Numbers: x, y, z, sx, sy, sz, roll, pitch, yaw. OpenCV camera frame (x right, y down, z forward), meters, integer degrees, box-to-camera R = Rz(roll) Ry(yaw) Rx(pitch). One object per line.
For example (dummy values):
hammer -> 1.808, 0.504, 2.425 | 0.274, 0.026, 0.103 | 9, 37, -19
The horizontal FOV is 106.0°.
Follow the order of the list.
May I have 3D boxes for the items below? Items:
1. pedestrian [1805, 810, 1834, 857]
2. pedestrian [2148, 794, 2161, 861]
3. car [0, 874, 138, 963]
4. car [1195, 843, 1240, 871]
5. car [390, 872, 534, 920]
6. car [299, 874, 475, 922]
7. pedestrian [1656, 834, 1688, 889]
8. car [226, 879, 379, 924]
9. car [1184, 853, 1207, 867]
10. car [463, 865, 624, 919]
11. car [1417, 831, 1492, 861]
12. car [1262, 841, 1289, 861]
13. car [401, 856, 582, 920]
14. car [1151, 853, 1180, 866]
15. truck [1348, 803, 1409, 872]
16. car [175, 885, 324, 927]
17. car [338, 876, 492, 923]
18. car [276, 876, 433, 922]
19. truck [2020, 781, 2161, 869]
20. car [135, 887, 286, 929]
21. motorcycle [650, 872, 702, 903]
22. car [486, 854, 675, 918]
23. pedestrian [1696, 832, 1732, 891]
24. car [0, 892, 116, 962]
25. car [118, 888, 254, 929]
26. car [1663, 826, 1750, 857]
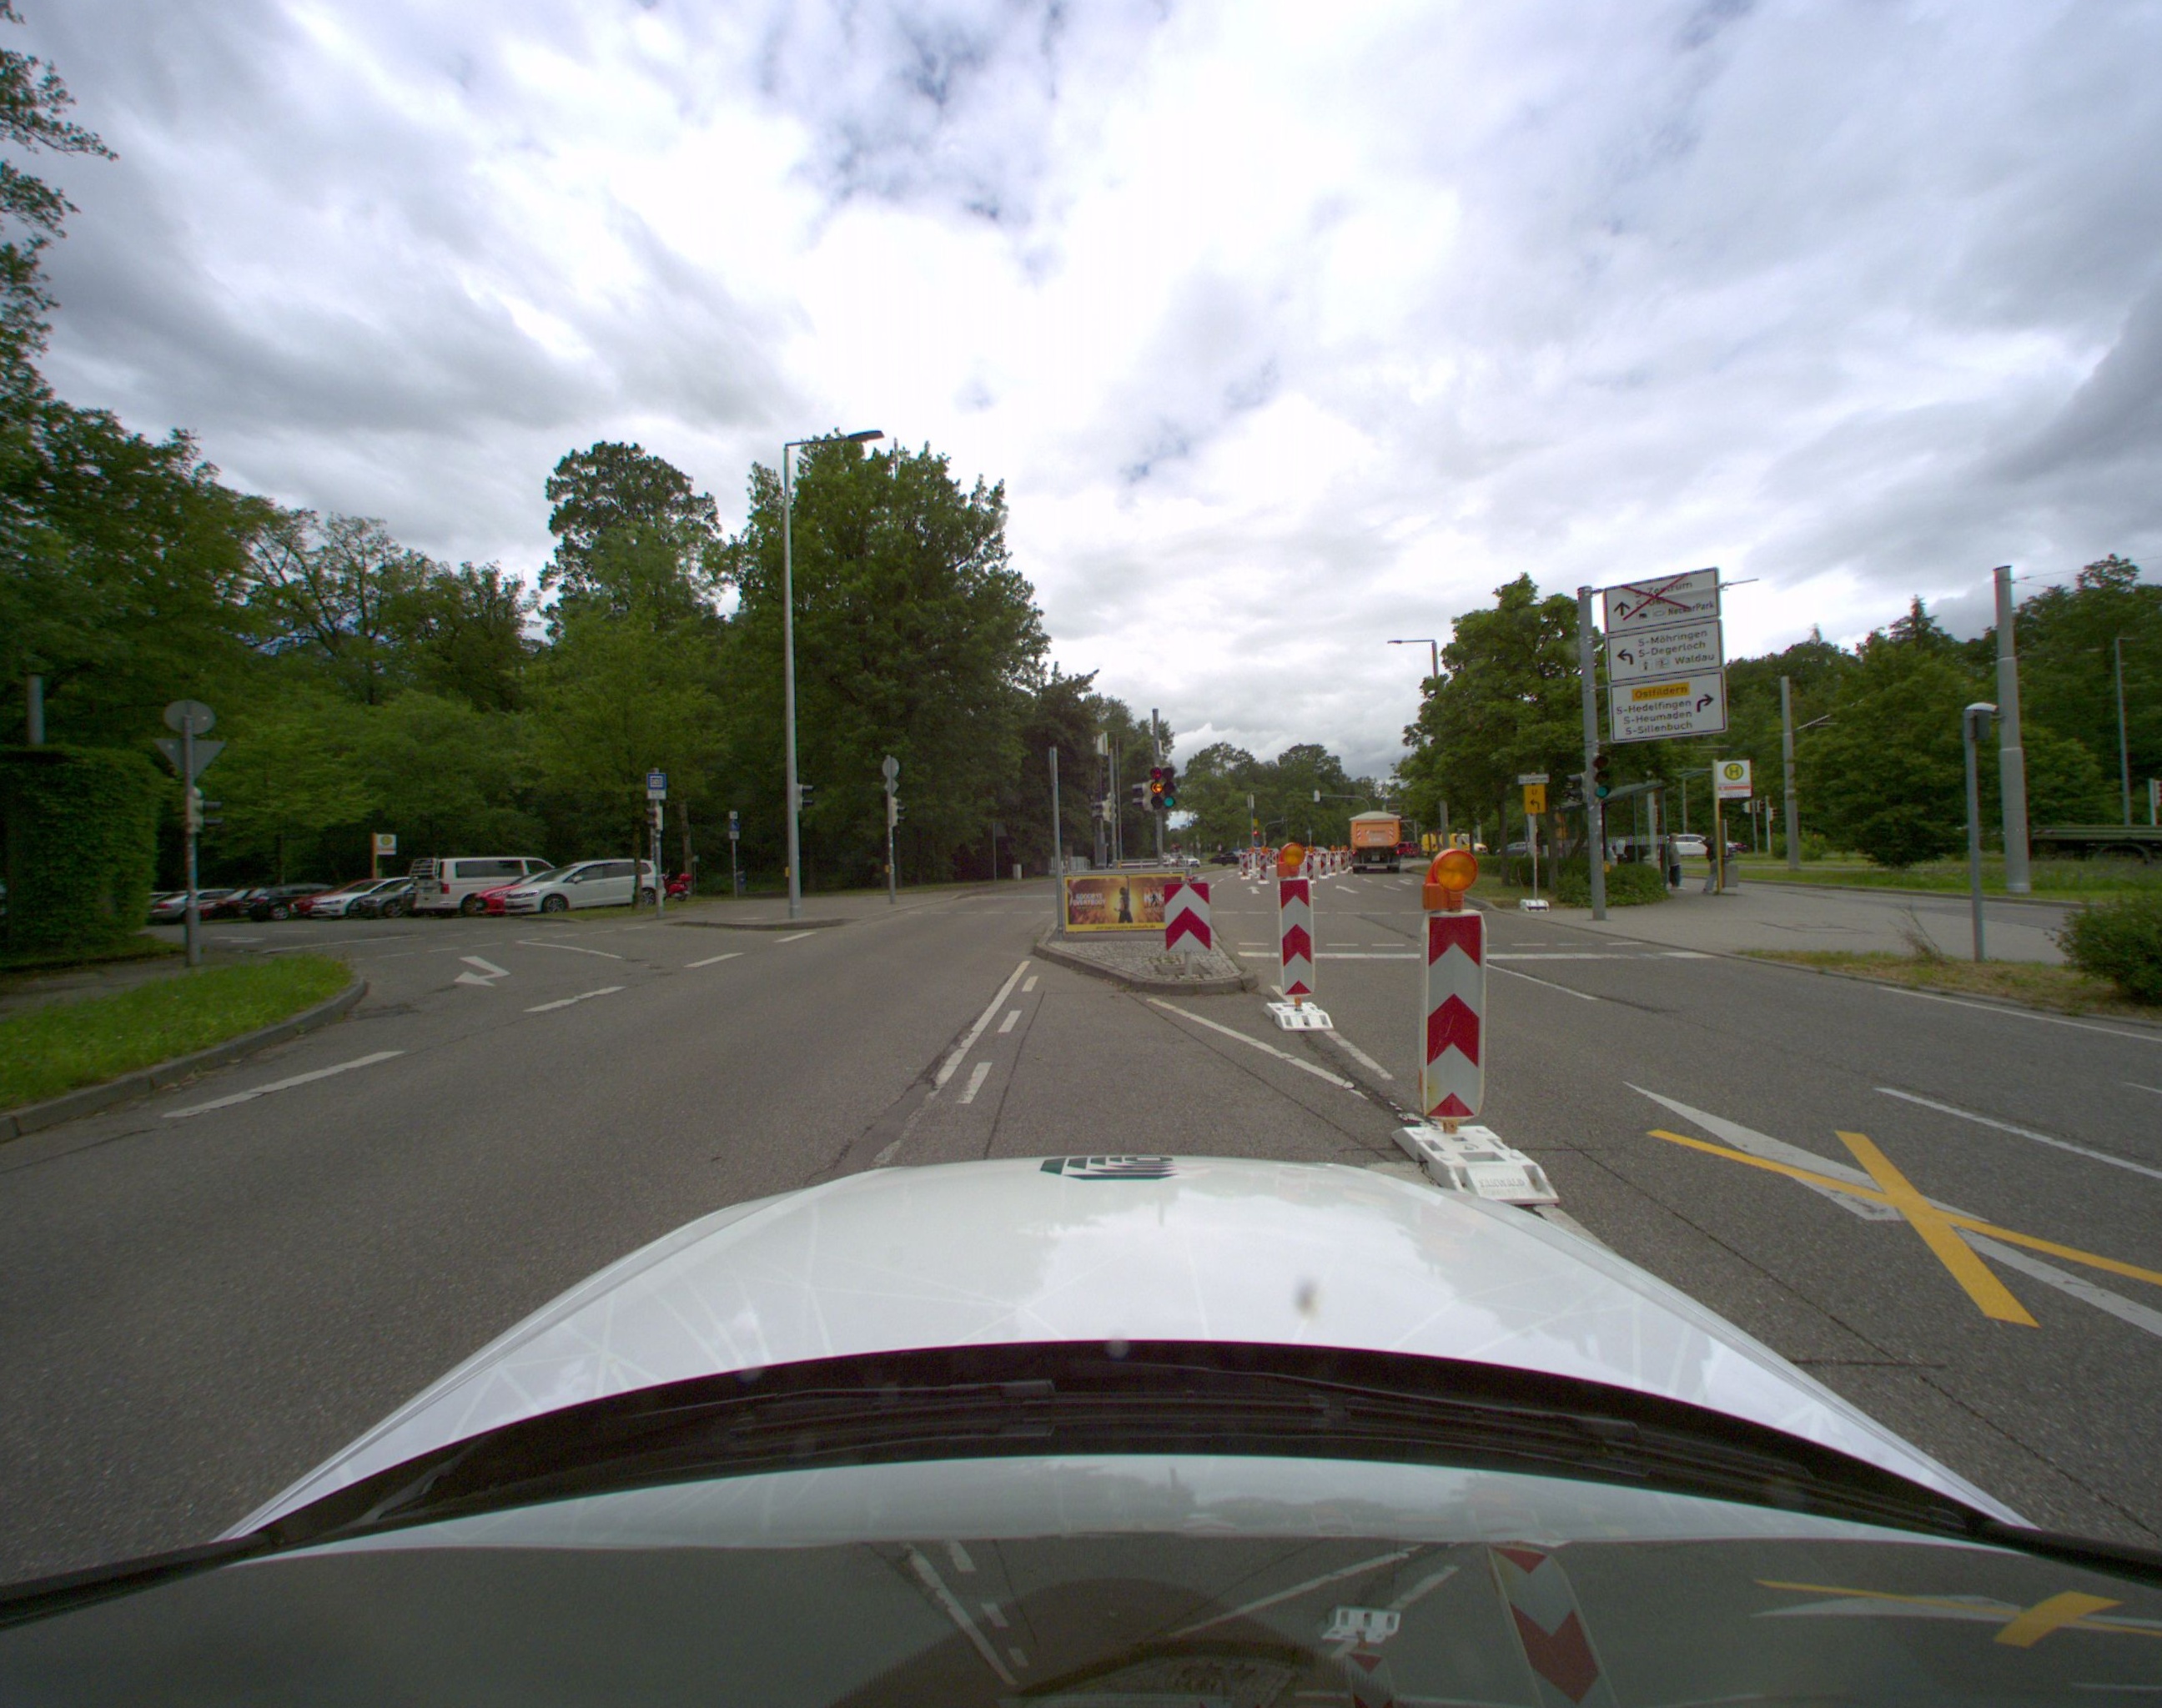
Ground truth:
pedestrian -> 36.507, -0.990, 40.273 | 0.616, 2.295, 0.858 | 0, -1, -13
pedestrian -> 49.819, -1.208, 37.089 | 1.024, 3.044, 1.109 | 0, -1, -13
car -> -26.070, 1.615, 18.876 | 1.953, 1.915, 5.134 | -3, 1, 28
car -> 8.829, 0.220, 52.352 | 1.976, 1.717, 4.022 | -1, -1, 23
car -> -22.475, 1.474, 29.722 | 1.823, 1.555, 3.756 | -1, -1, 26
car -> -26.749, 1.672, 31.612 | 1.829, 1.476, 4.817 | -2, 0, 27
pedestrian -> 16.443, 0.206, 22.664 | 0.520, 1.516, 0.479 | 0, -1, -2
car -> -31.687, 1.898, 33.294 | 1.898, 1.483, 4.023 | -3, 0, 24
car -> 14.638, 0.799, 103.731 | 1.977, 1.750, 4.601 | -1, -1, 20
car -> -17.830, 1.220, 27.182 | 1.921, 1.555, 4.036 | -2, -1, 34
car -> 33.434, -0.678, 73.145 | 2.006, 2.494, 6.089 | 0, -1, -30
car -> 17.493, -0.224, 73.154 | 1.780, 1.738, 3.723 | -1, -1, 23
car -> -20.347, 1.102, 28.355 | 2.057, 2.021, 4.691 | -1, -1, 27
car -> 12.137, 0.805, 117.042 | 2.010, 1.882, 3.953 | 0, -1, -41
truck -> 17.048, -0.934, 46.322 | 2.834, 3.514, 8.293 | -2, 0, 22
car -> -36.147, 2.224, 35.544 | 1.918, 1.449, 4.020 | -3, 0, 20
car -> -24.739, 1.645, 30.407 | 1.854, 1.483, 4.023 | -4, -2, 26
car -> -29.127, 1.772, 32.818 | 1.896, 1.480, 4.267 | -4, 0, 24
truck -> 30.156, -0.775, 21.573 | 2.407, 2.352, 6.499 | 0, -1, -20
car -> -38.675, 2.366, 36.317 | 1.843, 1.461, 4.163 | -4, 0, 22
motorcycle -> -16.365, 1.344, 32.897 | 1.988, 1.160, 0.680 | -2, 0, 21
car -> -15.756, 0.966, 25.891 | 2.137, 1.693, 4.564 | -4, 0, 33
pedestrian -> 16.349, 0.194, 21.036 | 0.520, 1.516, 0.479 | 0, -1, -2
car -> -23.830, 1.649, 17.264 | 1.701, 1.379, 4.025 | -3, 0, 28
car -> -40.837, 2.452, 37.253 | 1.731, 1.510, 3.733 | -4, 0, 20
car -> 43.014, -0.828, 56.078 | 2.006, 2.014, 4.285 | 0, -1, -30
